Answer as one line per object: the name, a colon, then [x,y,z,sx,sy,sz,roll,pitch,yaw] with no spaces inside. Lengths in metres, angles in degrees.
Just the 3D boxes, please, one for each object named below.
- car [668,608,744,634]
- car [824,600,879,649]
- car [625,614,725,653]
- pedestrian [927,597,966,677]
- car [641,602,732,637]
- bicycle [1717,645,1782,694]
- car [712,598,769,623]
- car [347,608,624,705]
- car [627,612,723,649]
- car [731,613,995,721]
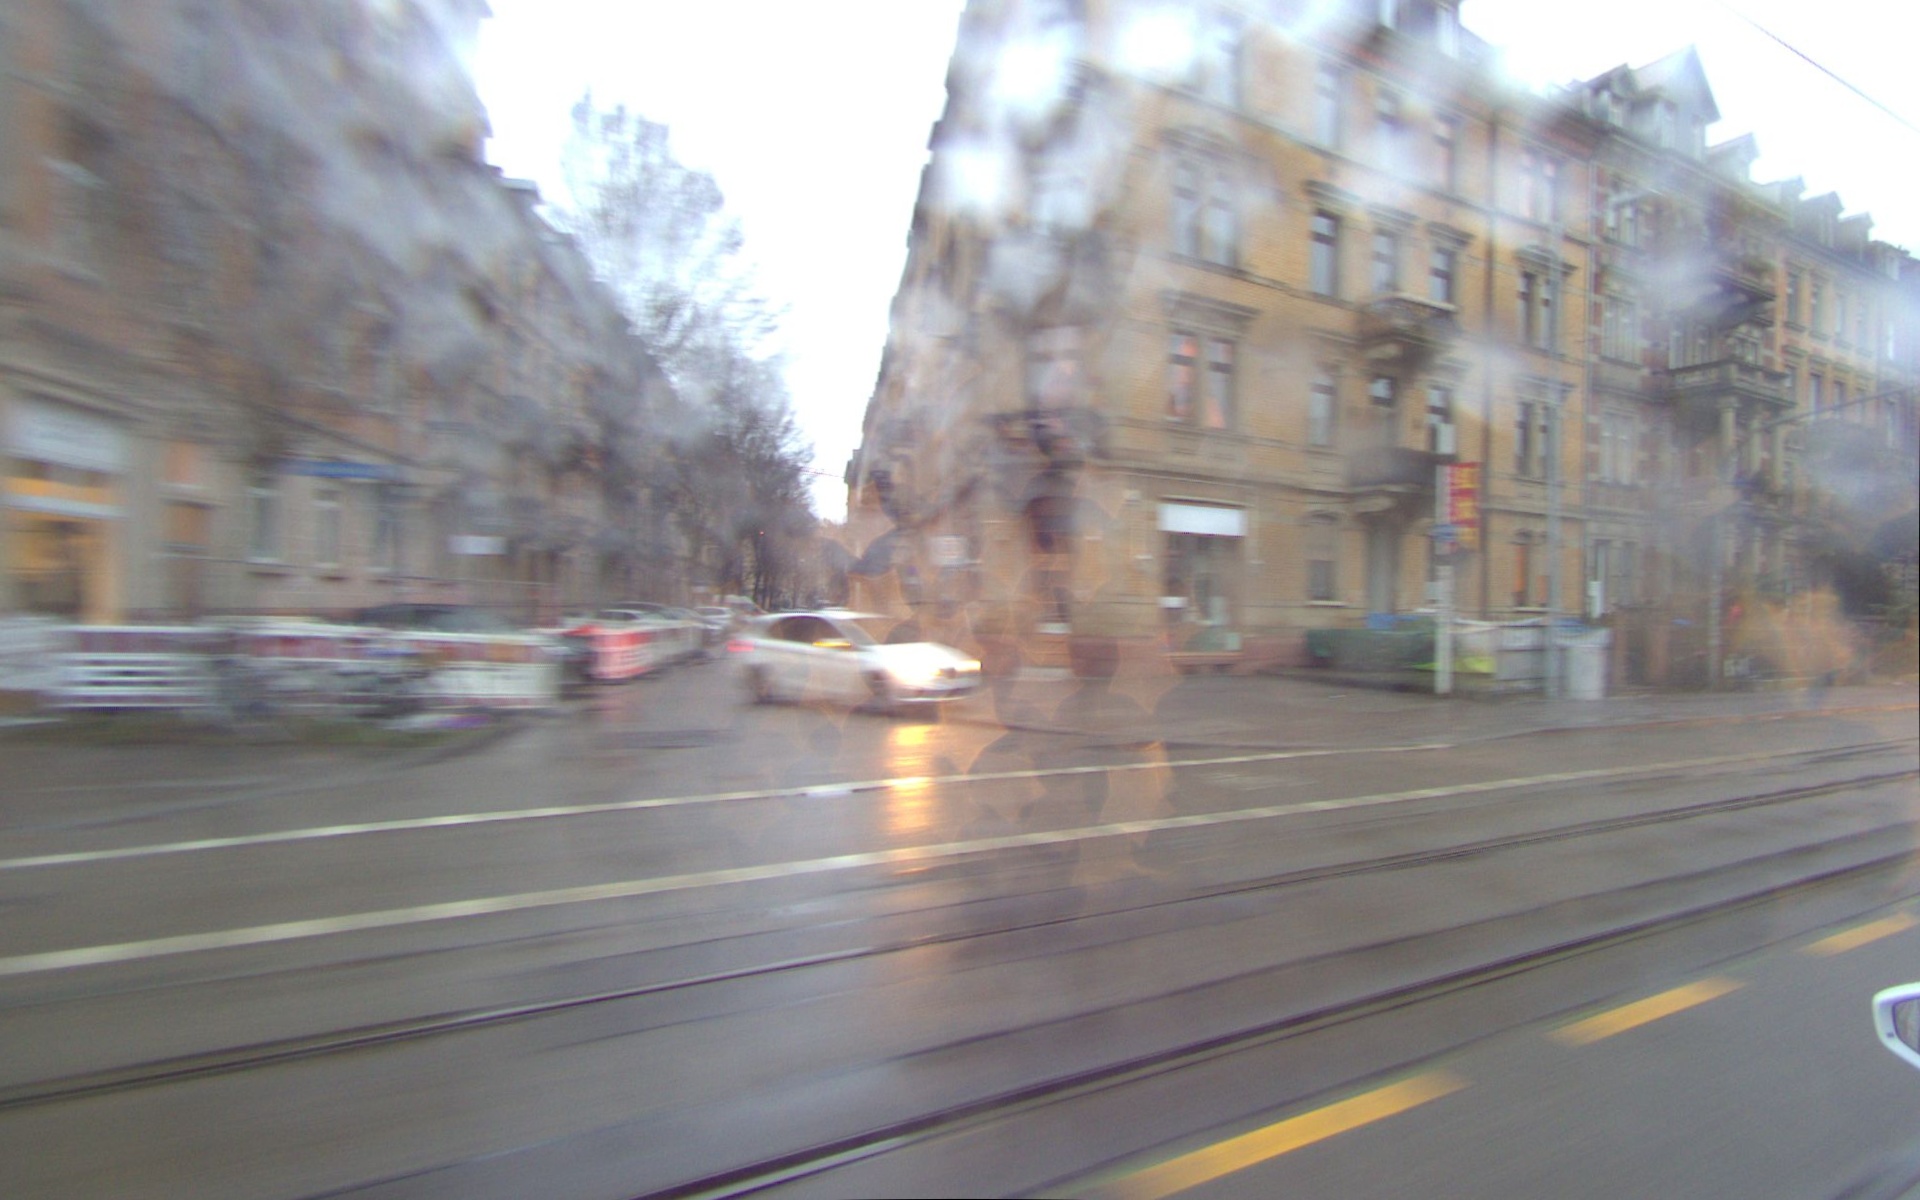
car: [-14.096,1.160,55.762,3.941,1.384,1.728,1,-1,-22]
car: [-3.780,0.808,34.629,1.726,1.546,3.940,1,0,-8]
car: [-12.110,1.402,42.627,3.941,1.586,1.801,1,-1,-22]
pedestrian: [-0.304,0.834,22.787,0.757,1.797,0.719,1,-1,-11]
car: [-12.897,0.925,47.367,3.941,1.586,1.801,1,0,-22]
bicycle: [17.307,1.517,22.015,1.742,1.020,0.494,1,-1,-29]
car: [-17.901,0.870,81.959,4.430,1.901,1.995,2,1,-13]
car: [-8.061,0.949,17.338,3.923,1.550,1.728,1,-1,-3]
car: [-12.693,1.343,44.710,3.941,1.586,1.801,1,-1,-22]
car: [-1.661,1.001,16.588,4.108,1.546,1.992,0,-1,38]
